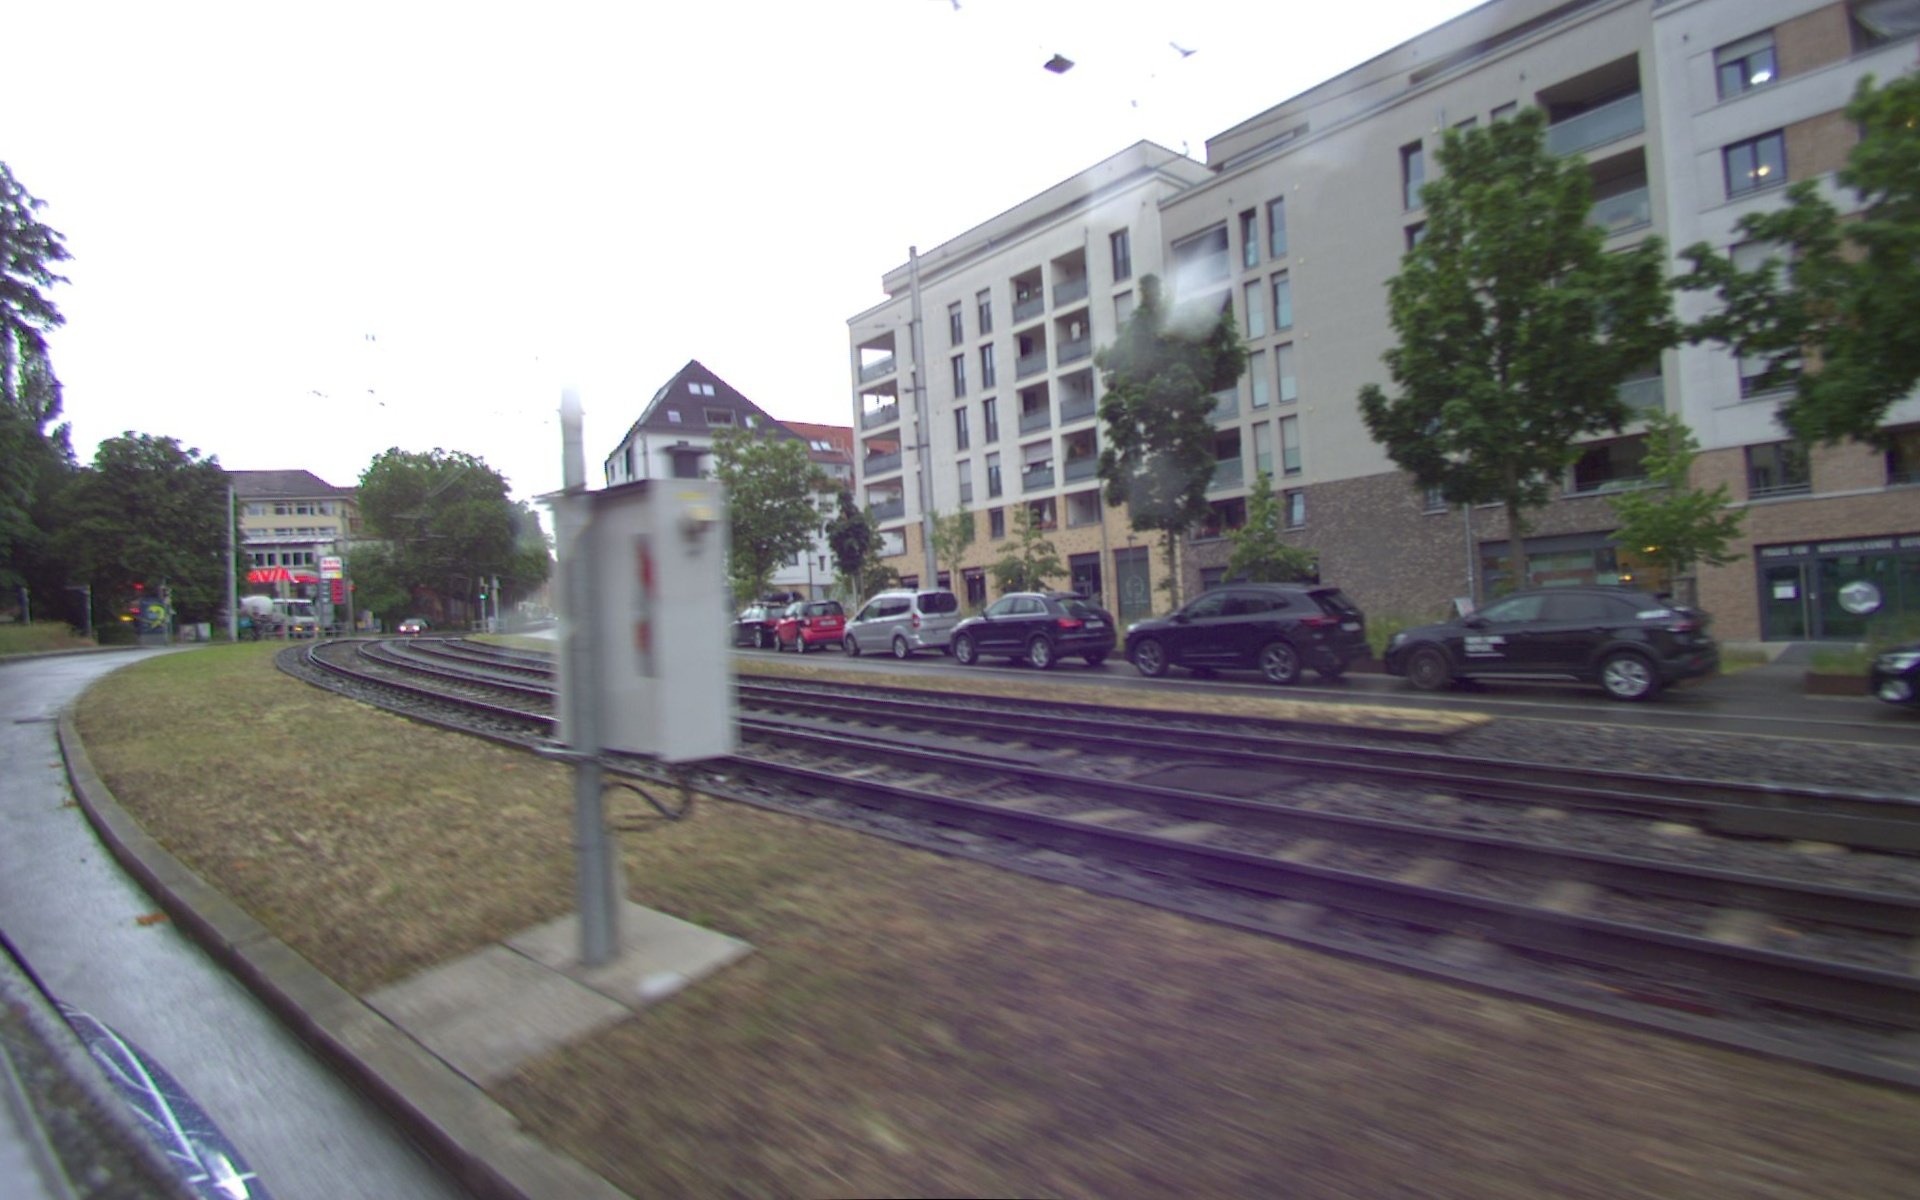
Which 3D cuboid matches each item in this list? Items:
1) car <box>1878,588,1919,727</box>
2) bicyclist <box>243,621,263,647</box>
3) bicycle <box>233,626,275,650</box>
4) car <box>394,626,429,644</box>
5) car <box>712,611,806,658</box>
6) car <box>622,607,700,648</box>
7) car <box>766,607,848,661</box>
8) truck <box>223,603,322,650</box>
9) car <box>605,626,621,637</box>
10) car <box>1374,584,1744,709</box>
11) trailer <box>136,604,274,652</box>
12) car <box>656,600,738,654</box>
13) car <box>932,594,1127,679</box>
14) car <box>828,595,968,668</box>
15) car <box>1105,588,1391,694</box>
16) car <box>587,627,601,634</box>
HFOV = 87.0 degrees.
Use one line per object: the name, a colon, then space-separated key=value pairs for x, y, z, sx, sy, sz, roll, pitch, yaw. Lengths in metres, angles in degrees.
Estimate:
car: x=12.095 y=0.564 z=10.074 sx=1.942 sy=1.442 sz=4.204 roll=-2 pitch=0 yaw=-42
bicyclist: x=-36.125 y=1.723 z=51.682 sx=0.787 sy=1.304 sz=0.596 roll=-1 pitch=0 yaw=-39
bicycle: x=-35.957 y=1.938 z=51.535 sx=1.684 sy=1.149 sz=0.627 roll=-1 pitch=-1 yaw=-39
car: x=-49.400 y=3.104 z=91.272 sx=1.859 sy=1.502 sz=3.860 roll=-1 pitch=-1 yaw=-14
car: x=-7.007 y=1.163 z=34.990 sx=1.530 sy=1.458 sz=4.411 roll=-3 pitch=0 yaw=-34
car: x=-12.854 y=1.165 z=43.355 sx=1.967 sy=1.617 sz=4.226 roll=-2 pitch=0 yaw=-34
car: x=-4.734 y=1.022 z=31.003 sx=1.449 sy=1.542 sz=2.940 roll=-1 pitch=-1 yaw=-31
truck: x=-52.618 y=2.043 z=77.479 sx=6.058 sy=3.425 sz=2.828 roll=-2 pitch=-1 yaw=10
car: x=-50.211 y=4.555 z=146.332 sx=1.996 sy=1.554 sz=4.013 roll=-1 pitch=-1 yaw=-21
car: x=8.447 y=0.612 z=14.554 sx=1.717 sy=1.500 sz=4.260 roll=-2 pitch=0 yaw=-44
trailer: x=-58.599 y=2.161 z=78.565 sx=9.730 sy=3.421 sz=2.804 roll=-2 pitch=-1 yaw=11
car: x=-10.229 y=1.028 z=39.161 sx=1.560 sy=1.873 sz=4.344 roll=-3 pitch=1 yaw=-35
car: x=1.428 y=0.773 z=22.522 sx=1.709 sy=1.657 sz=4.541 roll=-2 pitch=0 yaw=-37
car: x=-1.748 y=0.826 z=27.155 sx=1.641 sy=1.761 sz=4.266 roll=-1 pitch=0 yaw=-37
car: x=4.965 y=0.679 z=18.069 sx=1.780 sy=1.595 sz=4.706 roll=-2 pitch=0 yaw=-40
car: x=-76.086 y=6.346 z=210.416 sx=1.663 sy=1.548 sz=5.032 roll=-1 pitch=-1 yaw=-31
